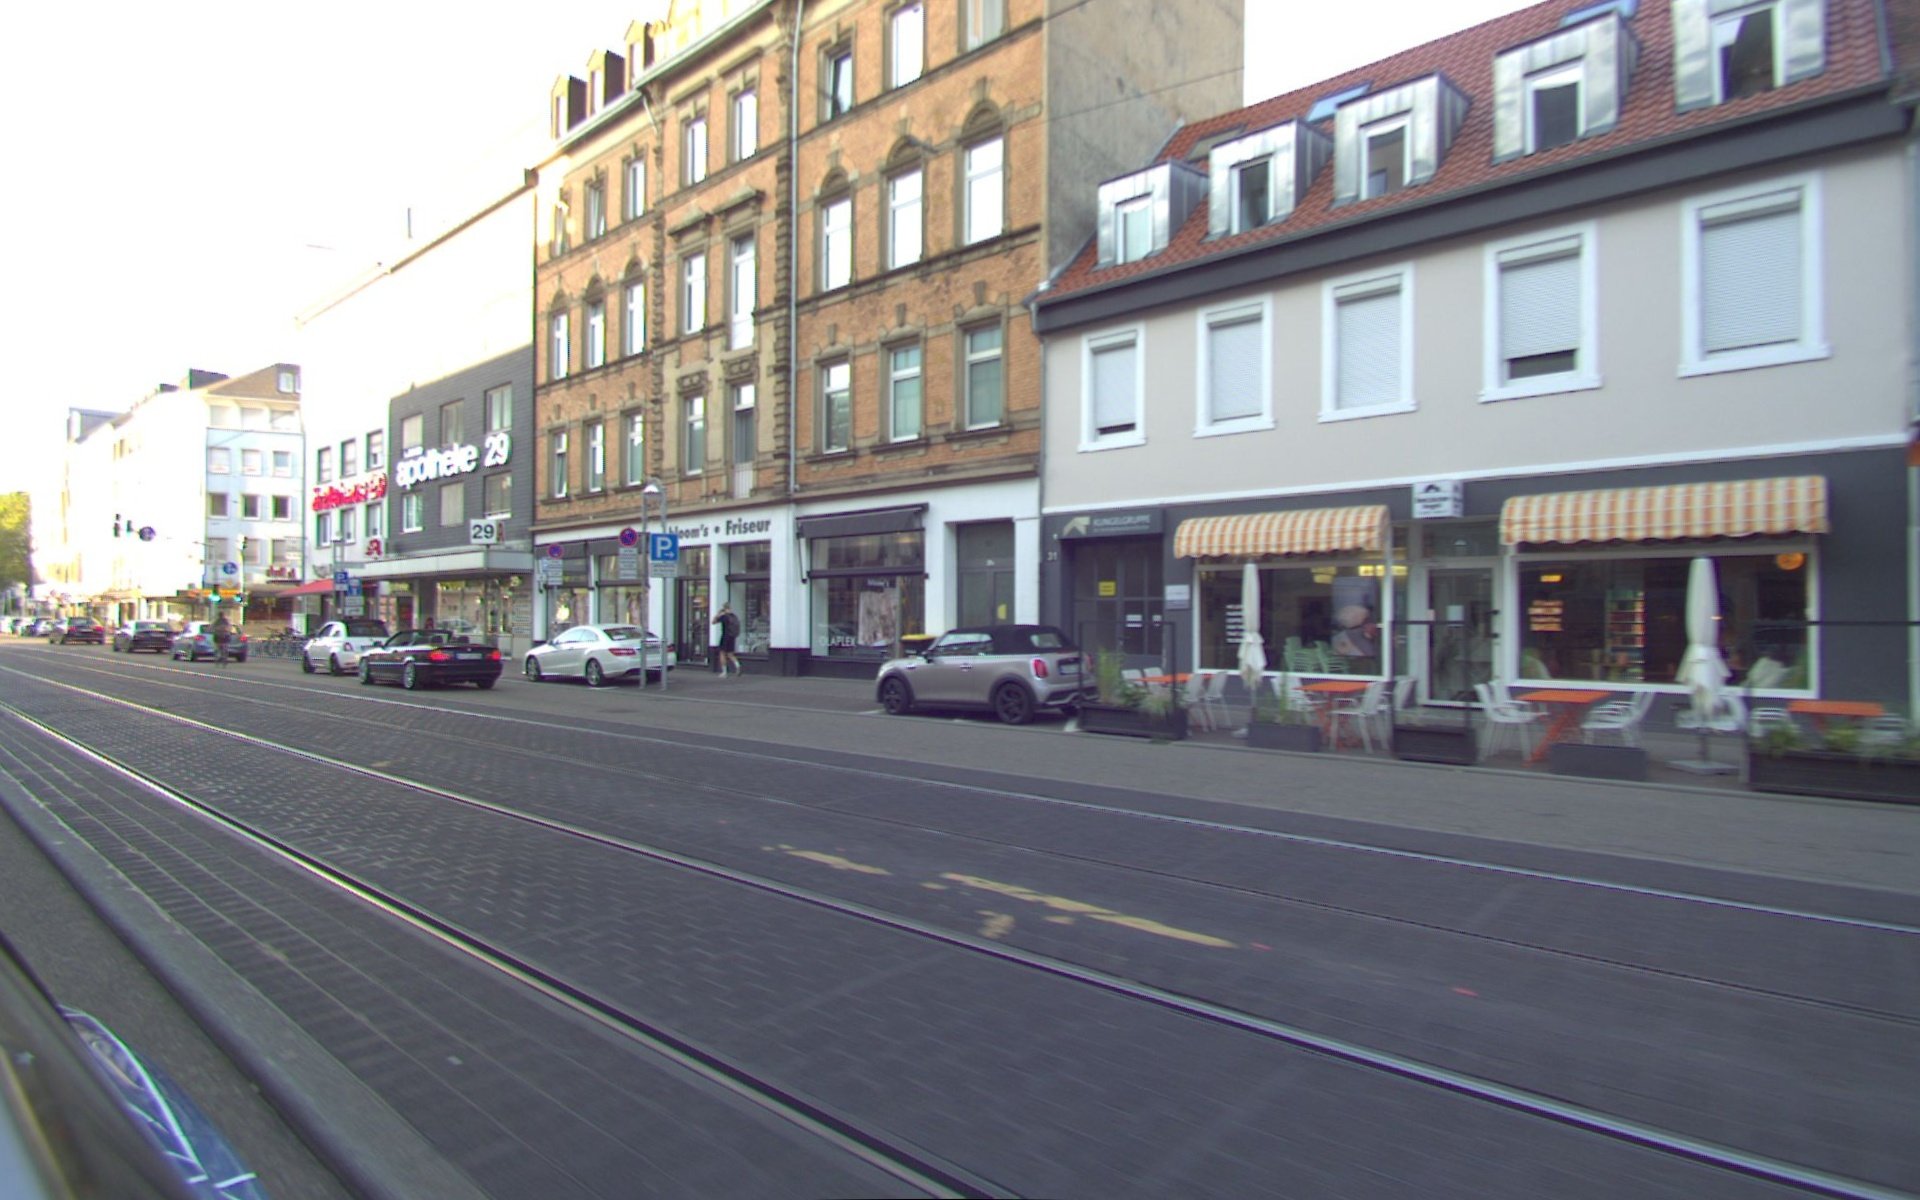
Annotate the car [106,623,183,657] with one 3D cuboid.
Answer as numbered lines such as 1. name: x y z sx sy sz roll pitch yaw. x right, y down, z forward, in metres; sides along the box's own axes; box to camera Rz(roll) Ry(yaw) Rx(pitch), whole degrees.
1. car: -35.755 1.738 44.324 4.563 1.397 1.894 -1 -4 42

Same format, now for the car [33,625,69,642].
1. car: -71.008 2.616 79.059 4.001 1.304 1.822 -1 -2 44

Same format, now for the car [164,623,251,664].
1. car: -27.298 1.571 36.685 4.060 1.397 1.739 -1 -4 42

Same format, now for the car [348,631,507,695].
1. car: -11.762 1.344 22.241 4.272 1.237 1.649 -1 -4 41

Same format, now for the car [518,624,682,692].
1. car: -8.629 1.307 24.107 4.270 1.400 1.741 -1 1 40

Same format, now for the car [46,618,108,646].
1. car: -46.669 1.689 53.441 4.563 1.397 1.894 -1 -4 42

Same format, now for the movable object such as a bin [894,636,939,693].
1. movable object such as a bin: -0.894 1.314 20.941 0.728 1.140 0.584 -1 -2 42

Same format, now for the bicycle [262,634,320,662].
1. bicycle: -27.157 1.924 41.101 0.607 0.991 1.837 -1 1 41

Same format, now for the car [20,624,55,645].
1. car: -74.831 2.798 82.057 4.001 1.647 1.822 -1 -2 44

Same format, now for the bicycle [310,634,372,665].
1. bicycle: -22.548 1.799 36.901 0.462 0.991 1.837 -1 1 41

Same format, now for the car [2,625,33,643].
1. car: -85.228 3.062 91.475 4.001 1.647 1.822 -1 -2 44

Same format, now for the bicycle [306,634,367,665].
1. bicycle: -22.934 1.816 37.243 0.462 0.991 1.837 -1 1 41

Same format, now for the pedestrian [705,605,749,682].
1. pedestrian: -5.587 1.024 24.237 0.855 1.786 0.641 -1 -1 42

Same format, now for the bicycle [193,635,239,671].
1. bicycle: -22.812 1.616 31.007 2.080 1.042 0.686 -1 -2 40

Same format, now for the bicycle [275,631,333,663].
1. bicycle: -26.049 1.842 40.213 0.607 1.143 1.837 -1 1 41

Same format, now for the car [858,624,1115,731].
1. car: 0.330 1.118 15.997 3.864 1.400 1.715 -1 1 42

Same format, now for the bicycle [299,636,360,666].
1. bicycle: -23.493 1.883 37.750 0.492 0.991 1.837 -1 1 41

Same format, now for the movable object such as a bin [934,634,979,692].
1. movable object such as a bin: -0.066 1.280 20.765 0.728 1.140 0.584 -1 -2 42

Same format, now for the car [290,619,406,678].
1. car: -16.918 1.330 27.918 3.679 1.517 1.649 -1 -4 41

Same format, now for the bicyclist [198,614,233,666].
1. bicyclist: -22.847 1.220 31.044 0.798 1.577 0.686 -1 -2 40
